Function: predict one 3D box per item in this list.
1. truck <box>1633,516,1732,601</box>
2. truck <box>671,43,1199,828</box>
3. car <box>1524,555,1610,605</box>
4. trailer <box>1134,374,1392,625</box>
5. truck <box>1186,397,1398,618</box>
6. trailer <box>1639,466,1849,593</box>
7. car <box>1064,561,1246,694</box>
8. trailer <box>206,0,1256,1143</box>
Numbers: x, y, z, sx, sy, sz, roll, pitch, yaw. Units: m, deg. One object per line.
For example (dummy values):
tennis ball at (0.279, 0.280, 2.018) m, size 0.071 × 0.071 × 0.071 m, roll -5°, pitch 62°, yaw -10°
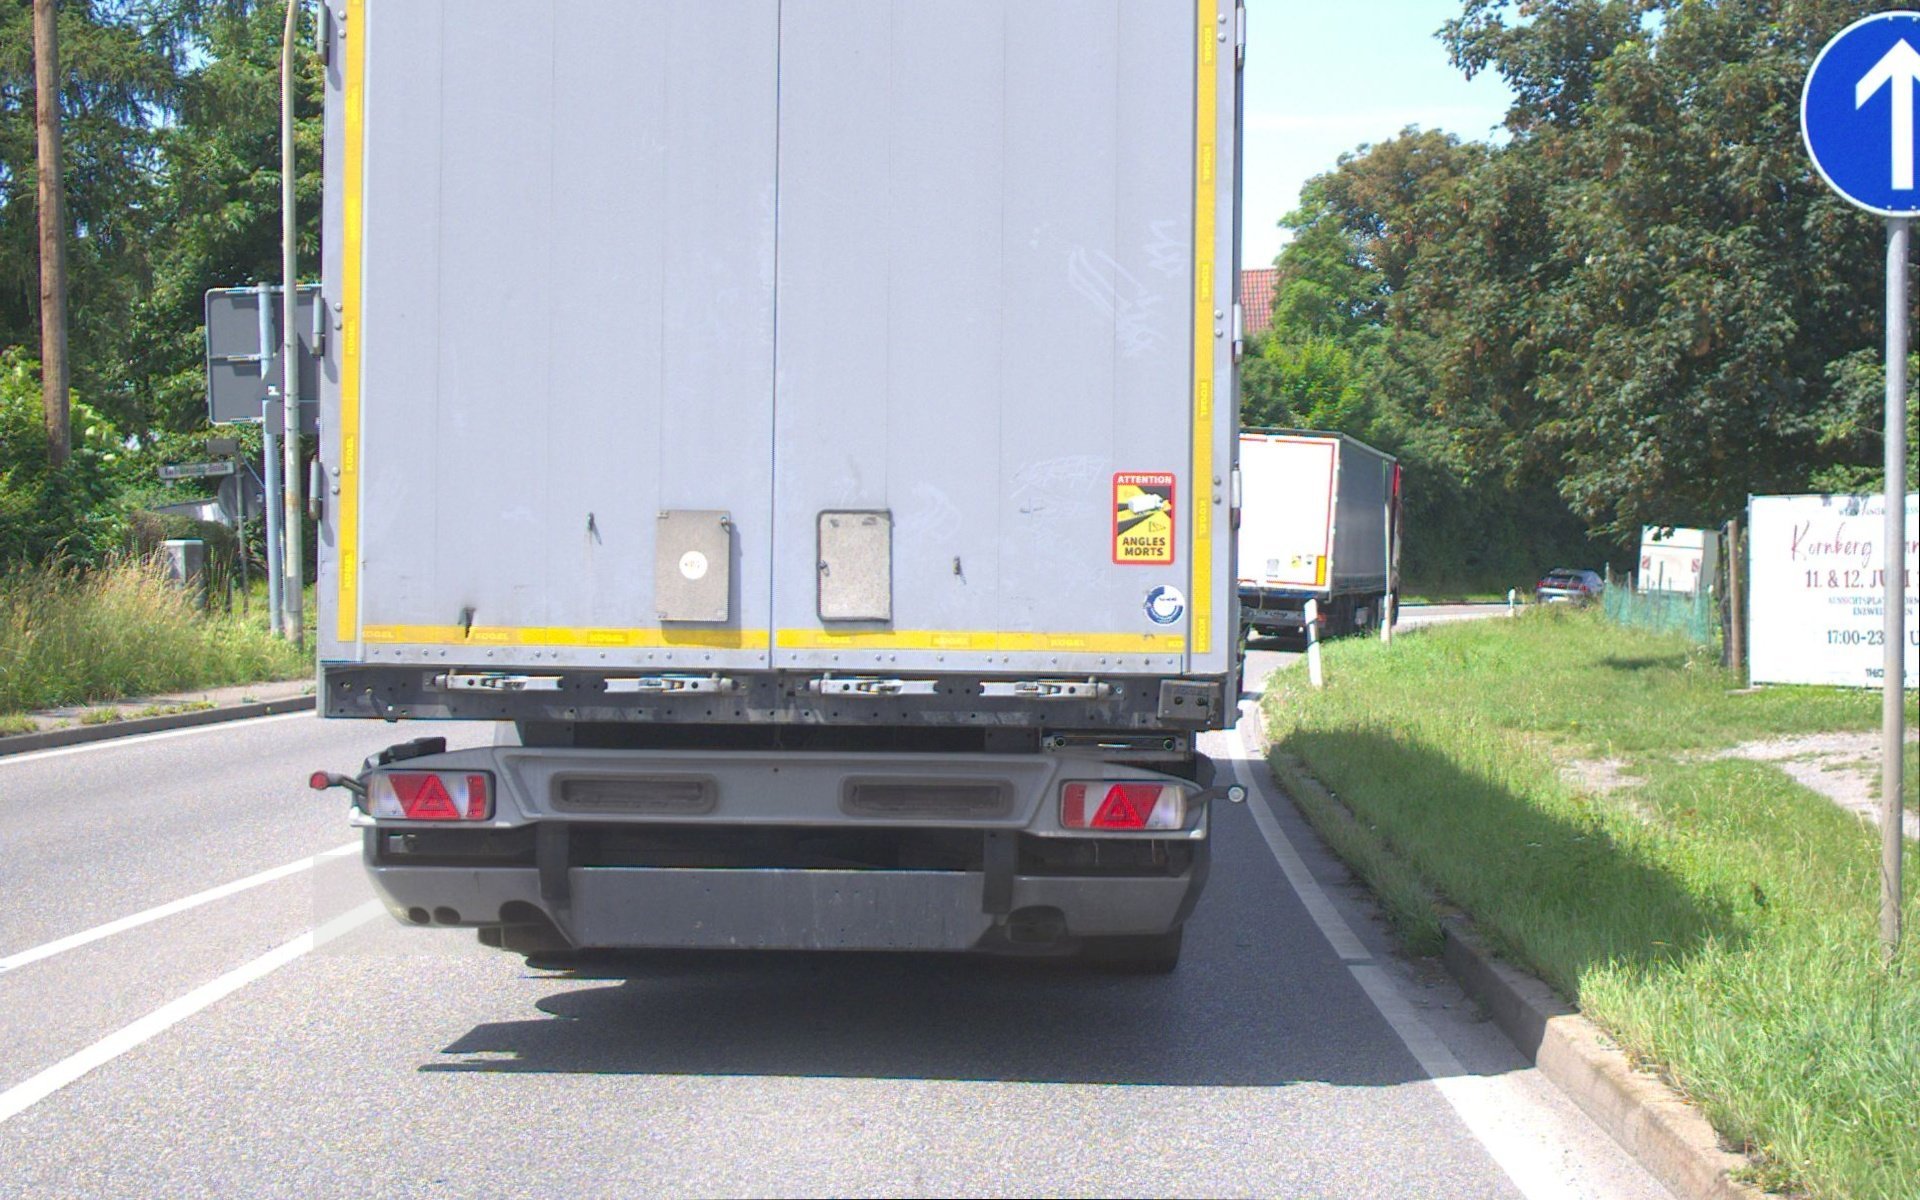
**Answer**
truck at (24.854, -1.448, 118.057) m, size 2.423 × 2.828 × 5.406 m, roll 1°, pitch 1°, yaw 22°
truck at (0.069, -0.954, 21.357) m, size 2.746 × 4.151 × 6.142 m, roll 1°, pitch 1°, yaw 4°
car at (18.847, -0.645, 106.619) m, size 1.843 × 1.481 × 3.996 m, roll 1°, pitch 1°, yaw 21°
trailer at (6.240, -1.971, 68.293) m, size 3.893 × 4.505 × 12.708 m, roll 0°, pitch 1°, yaw 11°
truck at (7.334, -1.971, 74.900) m, size 3.938 × 4.559 × 7.149 m, roll 0°, pitch 1°, yaw 11°
trailer at (30.703, -2.782, 133.833) m, size 5.186 × 4.612 × 15.876 m, roll 1°, pitch 2°, yaw 23°
car at (2.464, 0.298, 42.541) m, size 1.994 × 1.525 × 3.999 m, roll 1°, pitch 1°, yaw 7°
trailer at (-0.278, -0.827, 15.163) m, size 2.787 × 4.191 × 12.110 m, roll 1°, pitch 1°, yaw 3°
